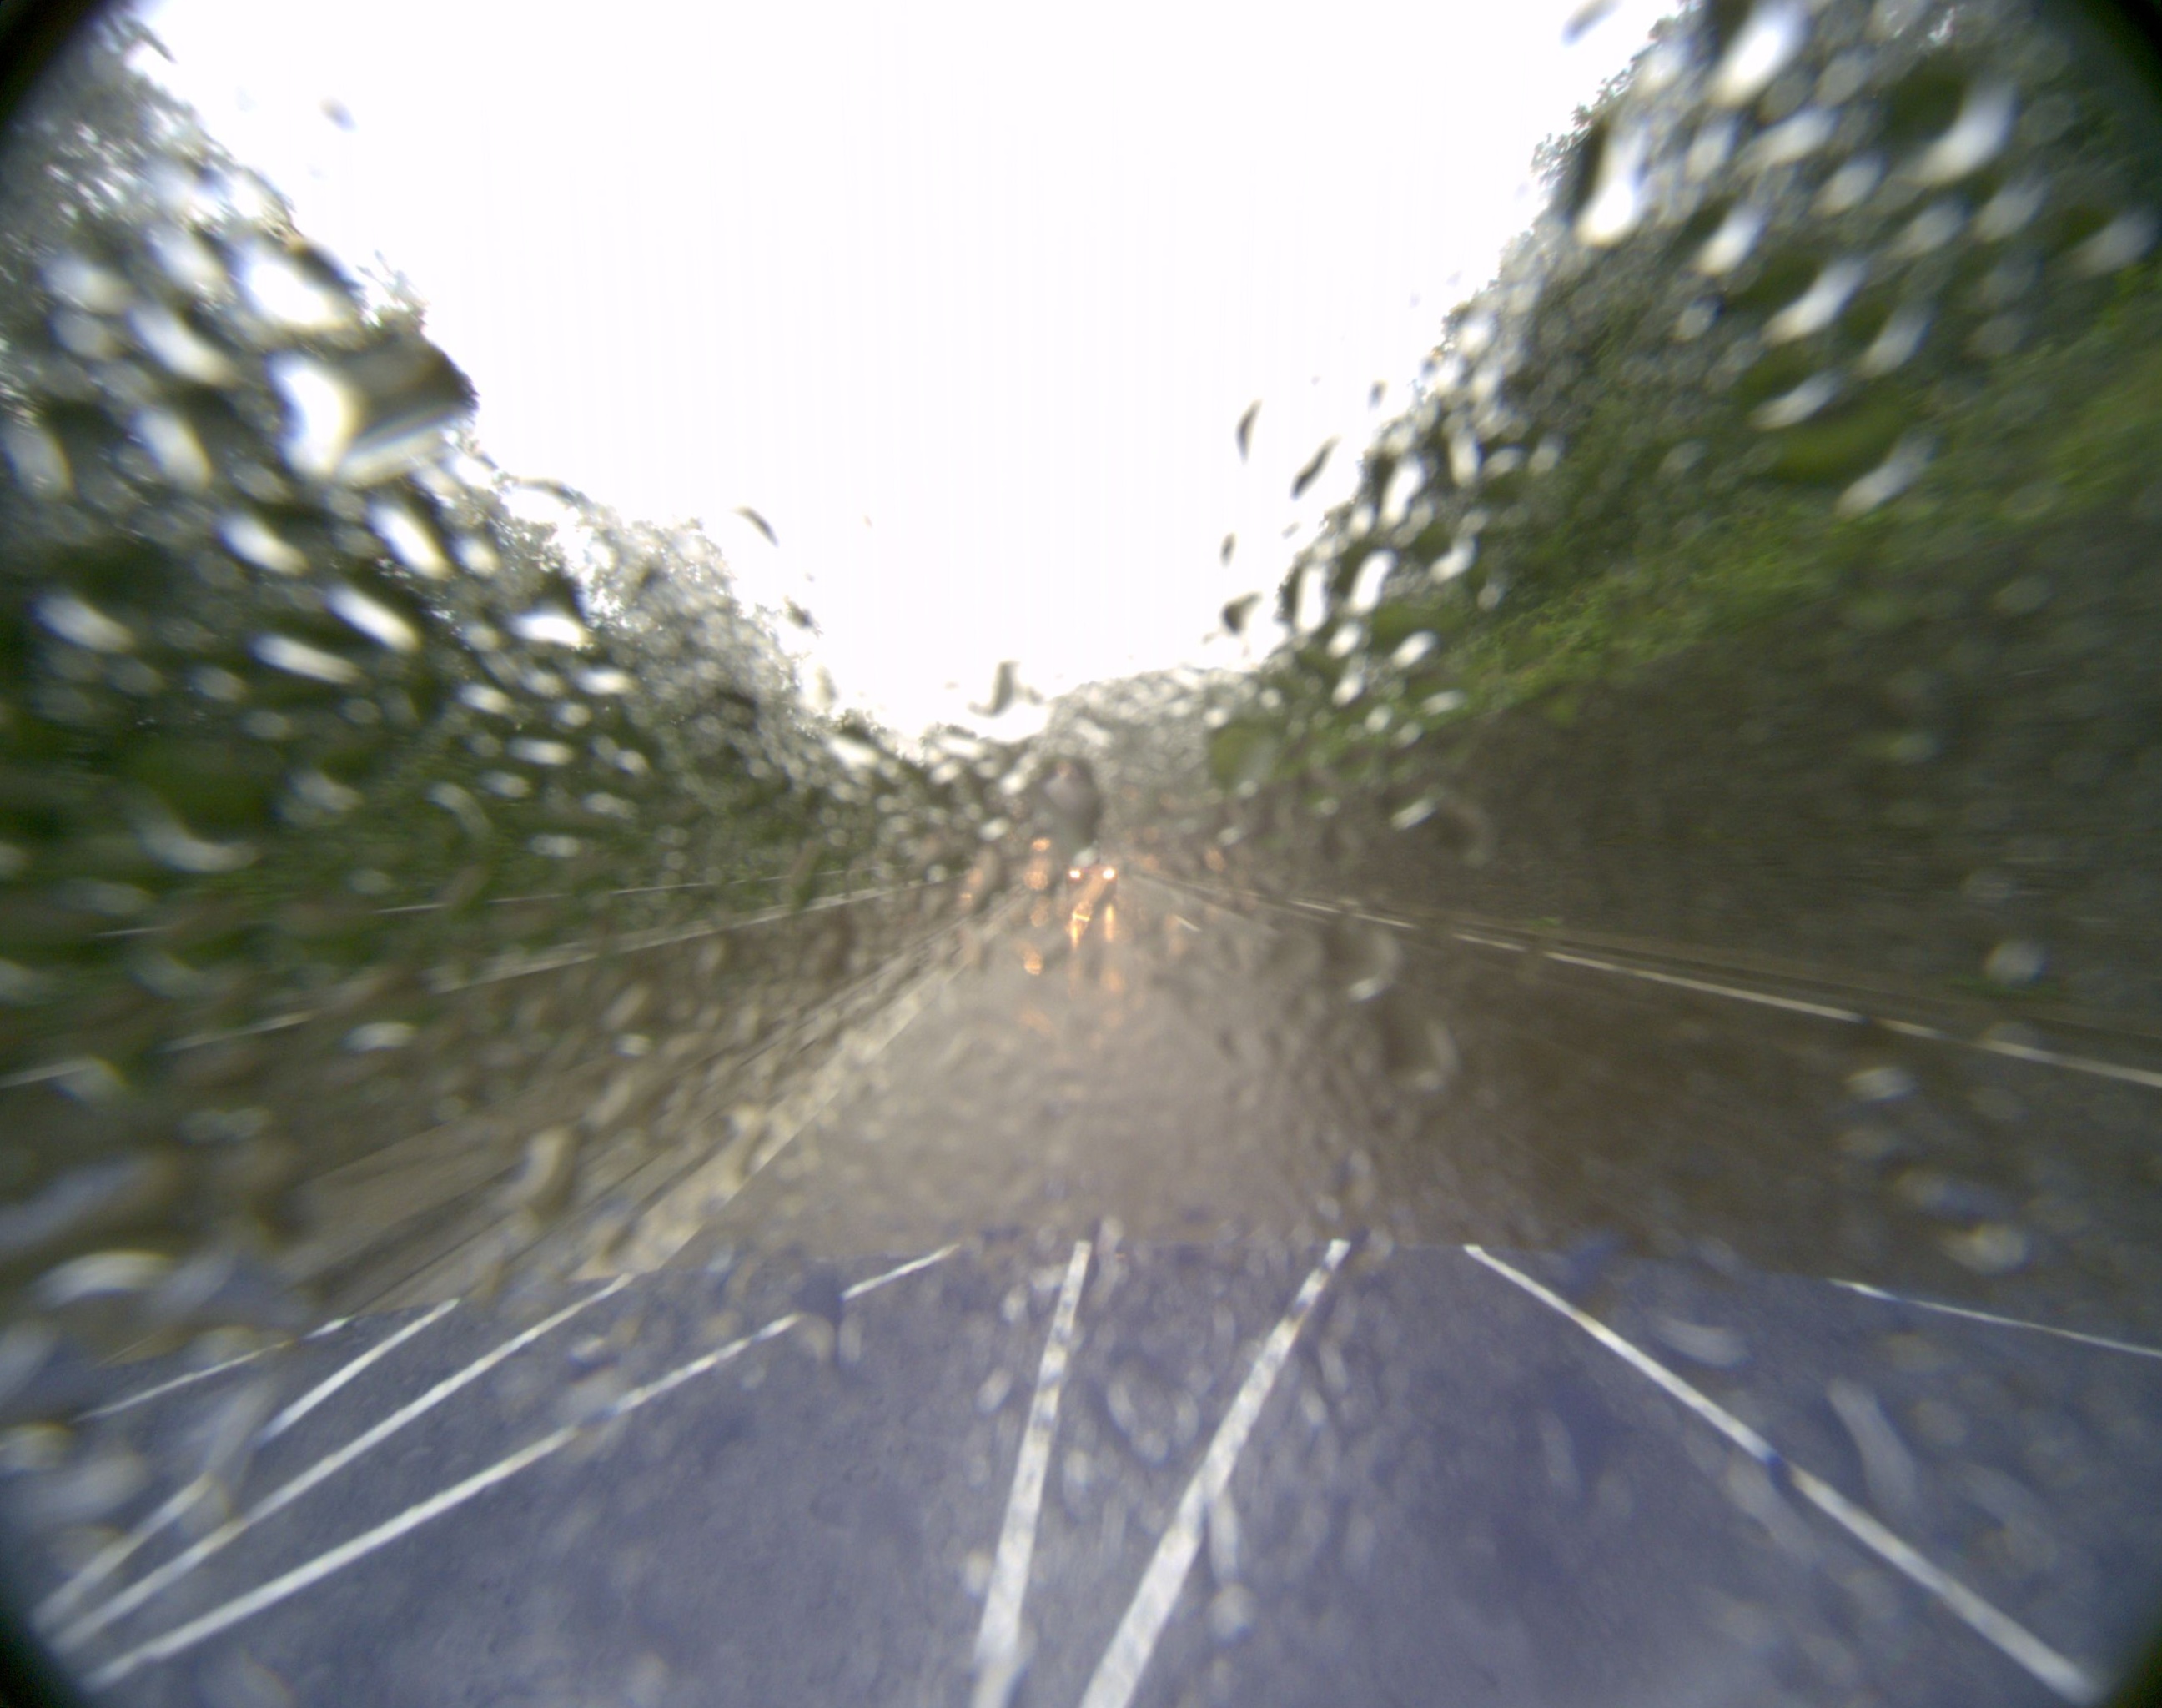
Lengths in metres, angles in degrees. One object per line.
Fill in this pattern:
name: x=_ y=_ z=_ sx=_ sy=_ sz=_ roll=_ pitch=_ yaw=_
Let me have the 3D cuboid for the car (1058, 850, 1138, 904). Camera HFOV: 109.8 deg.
car: x=0.546 y=0.682 z=25.588 sx=2.359 sy=1.549 sz=5.498 roll=-1 pitch=0 yaw=1
